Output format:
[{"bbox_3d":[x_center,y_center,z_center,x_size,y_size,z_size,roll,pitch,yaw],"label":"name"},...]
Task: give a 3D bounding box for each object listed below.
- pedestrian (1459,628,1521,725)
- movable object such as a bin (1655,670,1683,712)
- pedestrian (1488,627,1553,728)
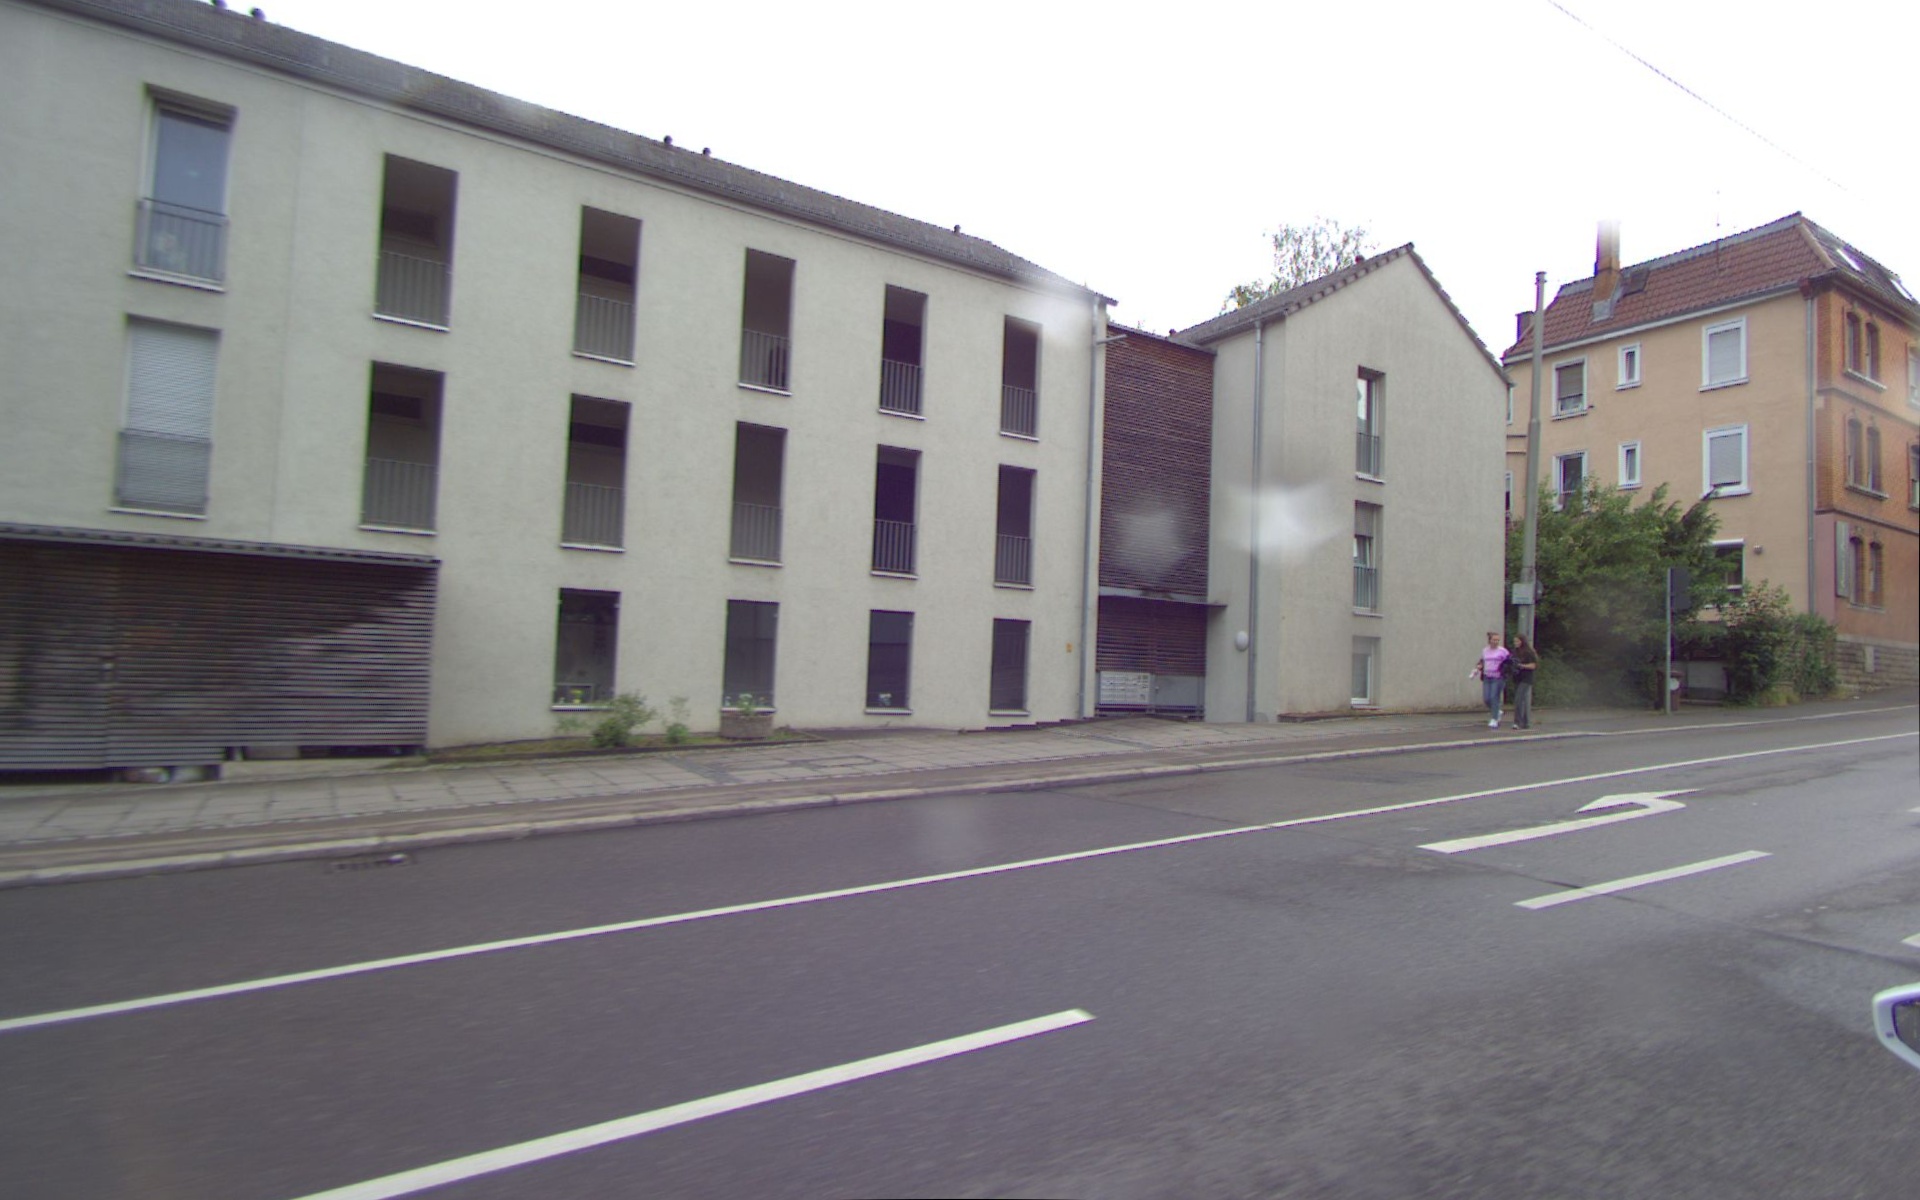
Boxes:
[{"bbox_3d":[9.712,1.386,18.403,0.900,1.728,0.637,2,-2,-30],"label":"pedestrian"},{"bbox_3d":[16.639,2.128,23.574,0.521,0.937,0.406,2,-2,-37],"label":"movable object such as a bin"},{"bbox_3d":[9.877,1.348,17.697,0.900,1.728,0.637,2,-2,-30],"label":"pedestrian"}]
